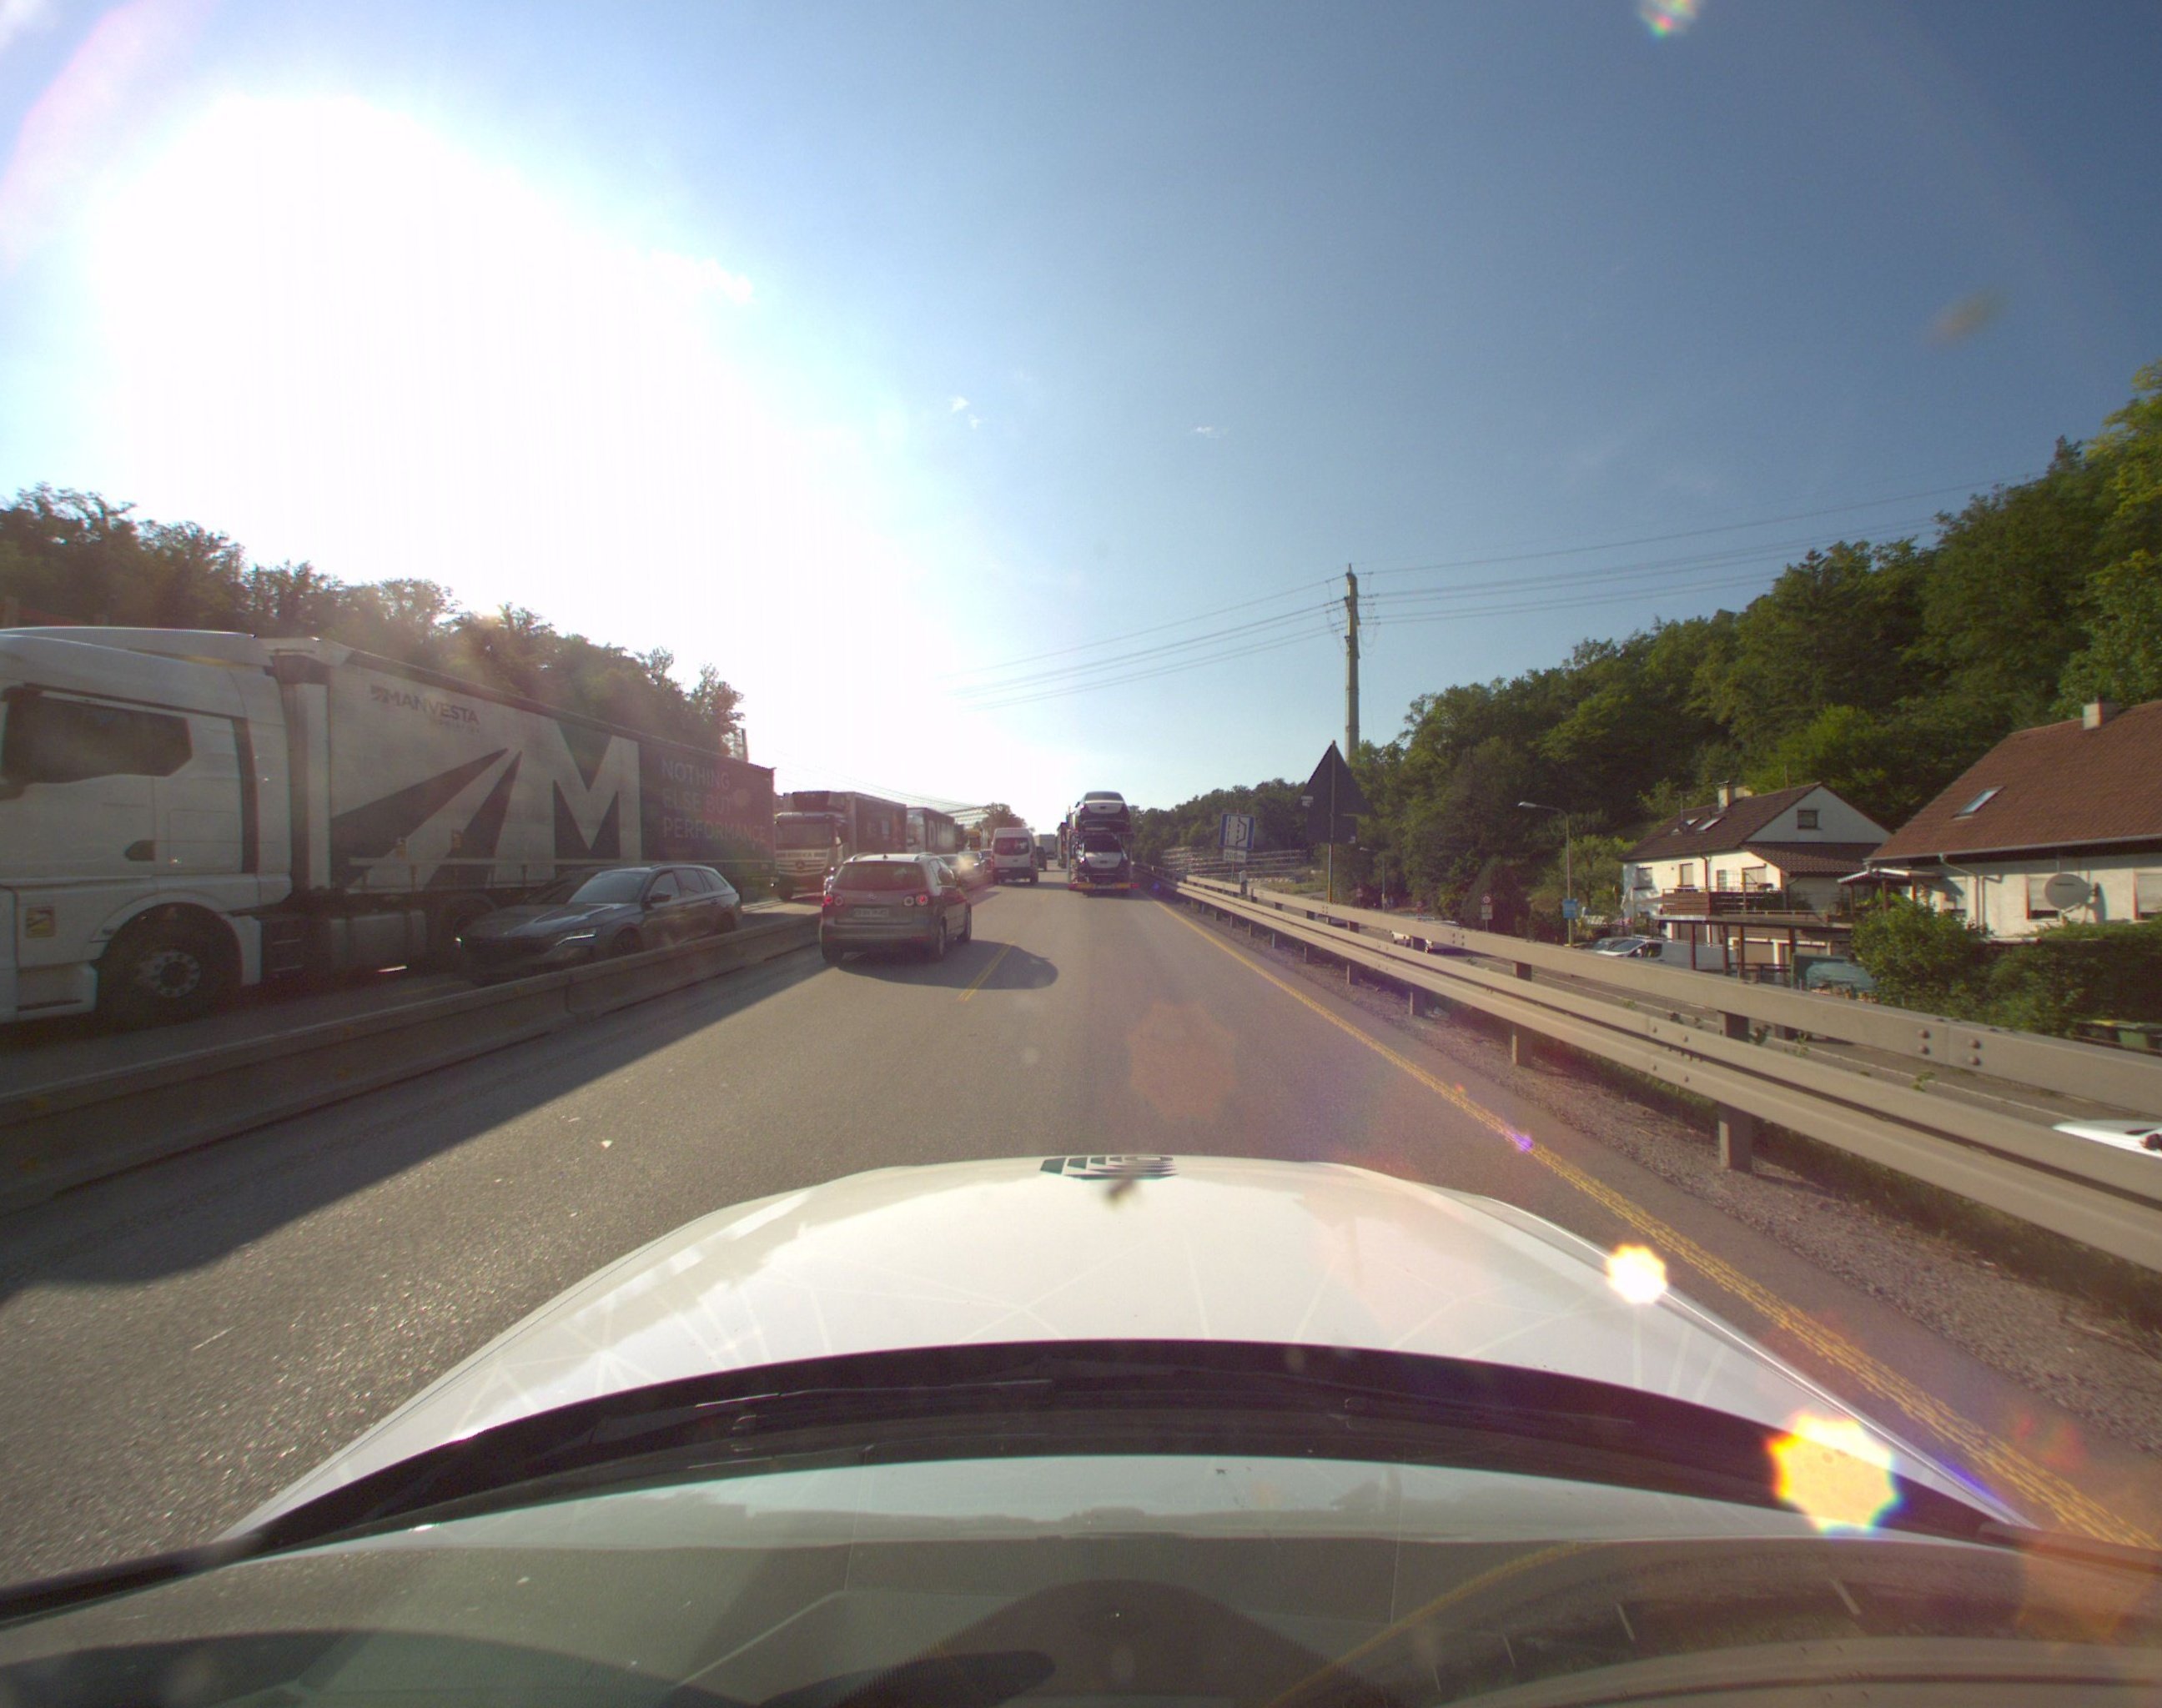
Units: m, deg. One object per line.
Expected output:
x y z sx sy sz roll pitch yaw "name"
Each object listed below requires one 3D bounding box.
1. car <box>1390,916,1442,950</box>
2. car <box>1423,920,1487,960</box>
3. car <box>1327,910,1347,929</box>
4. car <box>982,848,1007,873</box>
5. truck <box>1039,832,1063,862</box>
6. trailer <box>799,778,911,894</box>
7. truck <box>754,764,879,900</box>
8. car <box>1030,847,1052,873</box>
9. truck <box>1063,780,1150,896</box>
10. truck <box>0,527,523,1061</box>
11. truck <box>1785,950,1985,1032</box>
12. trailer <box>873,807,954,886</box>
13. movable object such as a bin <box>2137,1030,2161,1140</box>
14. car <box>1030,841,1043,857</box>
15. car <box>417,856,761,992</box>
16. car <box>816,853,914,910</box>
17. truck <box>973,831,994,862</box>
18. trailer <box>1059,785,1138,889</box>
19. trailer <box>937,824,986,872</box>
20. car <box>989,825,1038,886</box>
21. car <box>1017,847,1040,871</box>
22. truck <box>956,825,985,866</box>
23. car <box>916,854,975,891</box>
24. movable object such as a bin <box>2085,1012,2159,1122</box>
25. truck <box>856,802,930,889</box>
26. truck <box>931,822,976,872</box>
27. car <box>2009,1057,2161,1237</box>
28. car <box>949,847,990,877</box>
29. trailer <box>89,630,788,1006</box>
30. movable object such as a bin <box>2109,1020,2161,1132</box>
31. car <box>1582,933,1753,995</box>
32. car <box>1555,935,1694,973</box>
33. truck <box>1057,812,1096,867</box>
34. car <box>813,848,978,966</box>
22.268 5.219 54.347 1.853 1.986 5.060 -1 -2 6 "car"
20.936 4.784 45.790 1.984 1.917 4.874 -1 -2 9 "car"
24.902 6.365 79.323 1.515 1.461 4.282 -1 -1 12 "car"
-7.282 0.565 69.193 1.820 1.933 5.122 -4 -1 -4 "car"
-4.856 -1.211 135.766 3.637 4.676 11.692 -1 1 -1 "truck"
-9.460 -0.681 34.958 2.903 4.465 7.149 0 0 -1 "trailer"
-9.429 -0.719 29.650 2.911 4.514 5.025 -1 -1 -1 "truck"
-3.111 0.502 64.658 1.523 2.014 3.999 1 -1 0 "car"
0.831 -0.539 31.177 2.863 3.980 5.766 -1 -1 -2 "truck"
-9.838 -0.420 9.216 2.755 4.203 6.114 -1 -1 0 "truck"
23.042 3.869 23.492 2.010 1.738 3.951 9 -5 -44 "truck"
-9.904 -0.382 49.754 2.708 4.122 12.481 -2 0 -2 "trailer"
18.314 3.901 13.636 0.486 1.770 0.415 9 -1 11 "movable object such as a bin"
-5.598 -0.627 103.402 1.524 2.014 3.997 1 -1 -2 "car"
-6.276 0.812 11.241 1.769 1.457 4.813 1 -1 0 "car"
-6.454 0.808 24.807 1.761 1.551 4.478 0 -1 0 "car"
-13.548 -0.973 113.198 2.690 4.197 4.388 -1 -1 -6 "truck"
0.497 -0.589 39.498 2.867 3.994 15.265 -1 -1 -2 "trailer"
-10.684 -0.507 74.321 2.743 3.815 16.029 -2 0 -3 "trailer"
-3.145 0.089 38.744 1.973 2.684 4.146 -1 -1 0 "car"
-4.560 0.452 71.067 1.828 1.963 4.895 -1 -1 -2 "car"
-11.846 -0.864 87.570 2.696 4.141 5.784 -1 -1 -5 "truck"
-6.243 0.866 38.028 1.856 1.586 4.744 2 -1 0 "car"
18.508 3.765 14.481 0.526 1.770 0.417 9 -1 11 "movable object such as a bin"
-9.571 -0.421 41.909 2.743 4.115 5.025 -2 0 -3 "truck"
-10.287 -0.525 66.158 2.743 3.805 7.103 -2 0 -3 "truck"
12.837 3.420 8.421 1.659 1.662 4.479 -1 -2 7 "car"
-6.751 0.473 49.730 1.872 1.605 5.364 -3 0 -2 "car"
-9.769 -0.347 16.136 2.766 4.203 13.832 -1 -1 1 "trailer"
18.404 3.833 14.057 0.532 1.770 0.410 9 -1 11 "movable object such as a bin"
23.973 4.470 33.458 5.440 2.264 2.003 0 -2 5 "car"
24.735 4.548 37.207 5.065 1.557 1.718 0 -2 5 "car"
-0.506 -1.325 75.028 3.219 4.676 11.689 -1 1 -1 "truck"
-2.808 0.750 13.244 1.695 1.587 4.146 -1 -1 0 "car"
